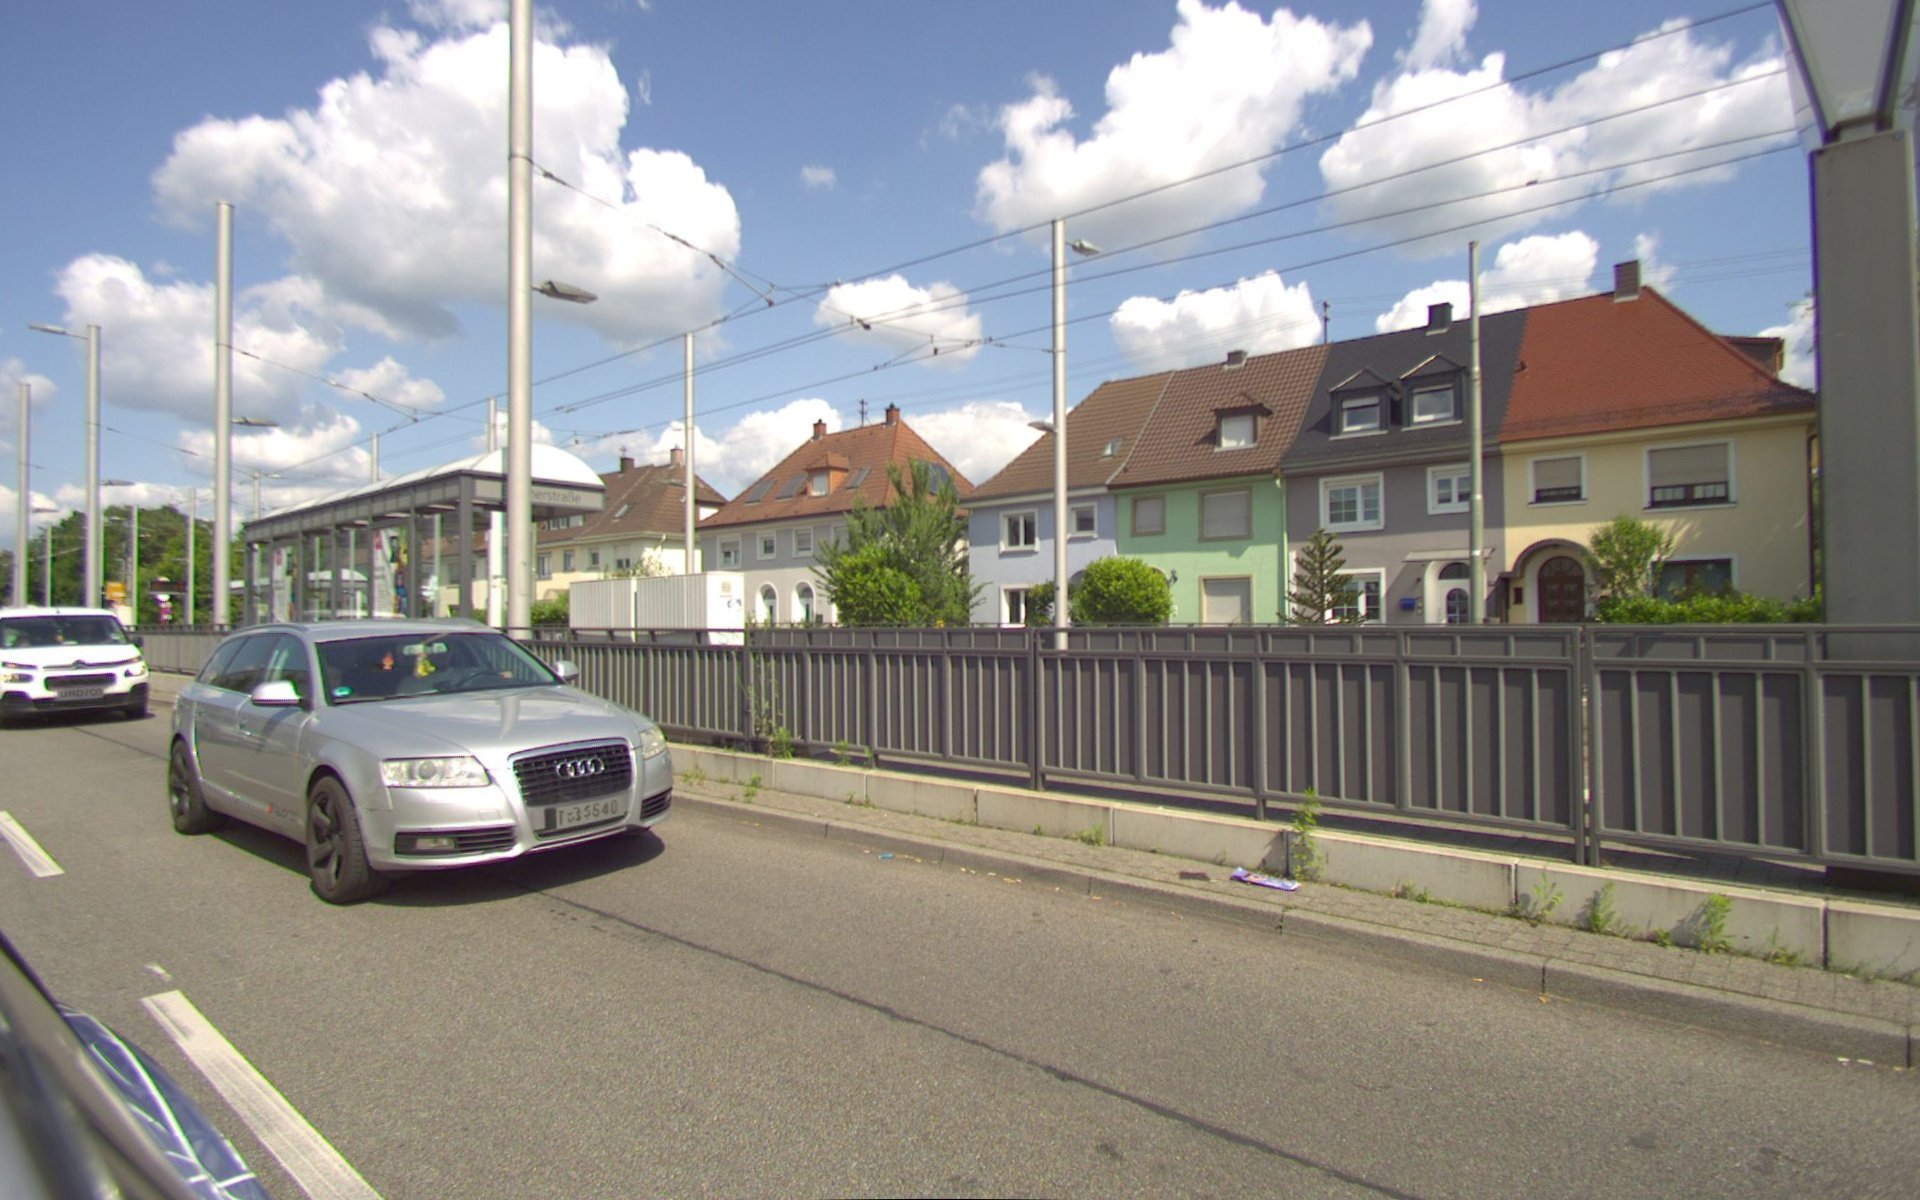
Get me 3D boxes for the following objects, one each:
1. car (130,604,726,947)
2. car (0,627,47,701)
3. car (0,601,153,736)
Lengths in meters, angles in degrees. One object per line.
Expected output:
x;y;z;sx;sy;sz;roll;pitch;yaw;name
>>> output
-3.735;0.811;6.650;4.717;1.483;1.777;-1;0;39;car
-21.476;1.395;22.157;3.389;1.515;1.660;-2;0;38;car
-14.324;0.965;15.860;4.326;1.829;1.776;-1;0;40;car
